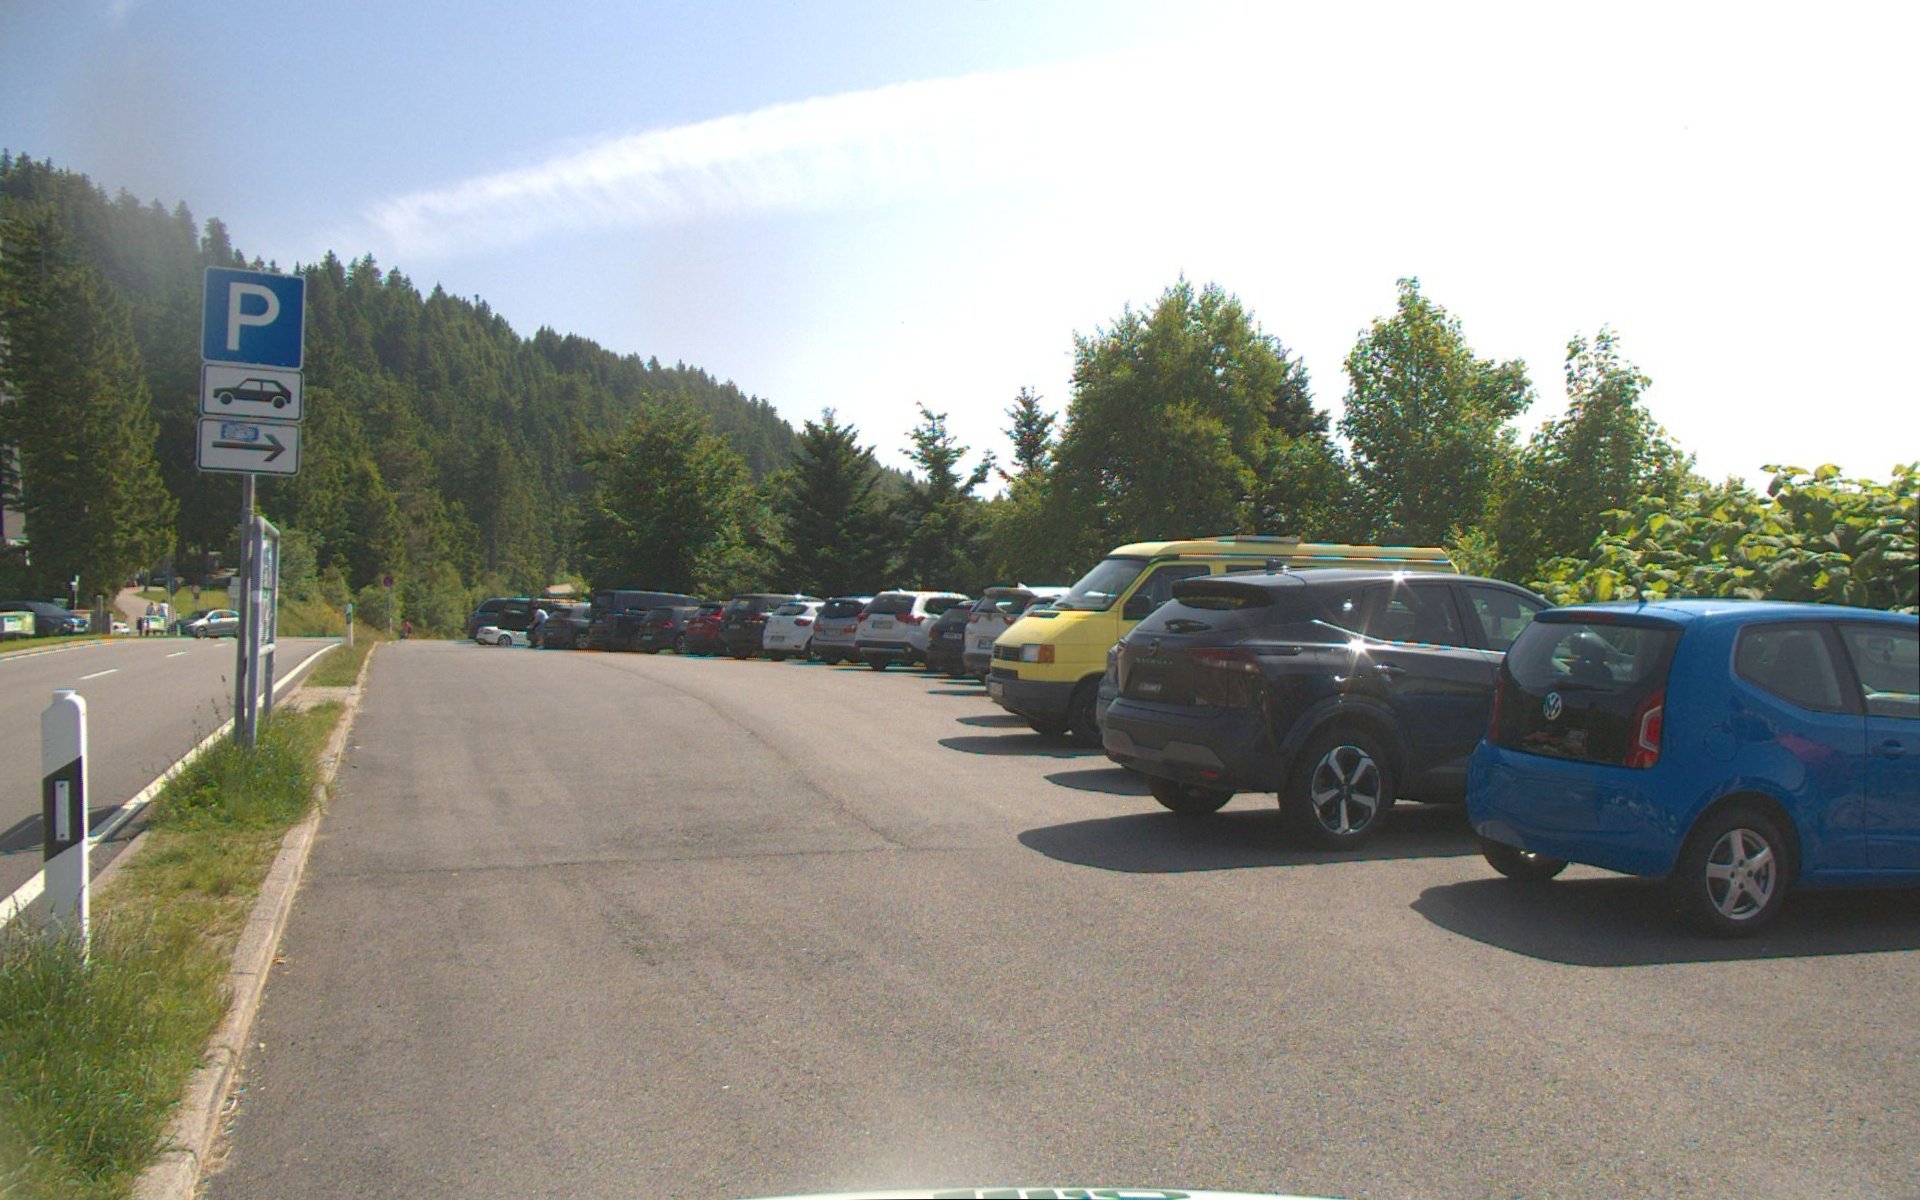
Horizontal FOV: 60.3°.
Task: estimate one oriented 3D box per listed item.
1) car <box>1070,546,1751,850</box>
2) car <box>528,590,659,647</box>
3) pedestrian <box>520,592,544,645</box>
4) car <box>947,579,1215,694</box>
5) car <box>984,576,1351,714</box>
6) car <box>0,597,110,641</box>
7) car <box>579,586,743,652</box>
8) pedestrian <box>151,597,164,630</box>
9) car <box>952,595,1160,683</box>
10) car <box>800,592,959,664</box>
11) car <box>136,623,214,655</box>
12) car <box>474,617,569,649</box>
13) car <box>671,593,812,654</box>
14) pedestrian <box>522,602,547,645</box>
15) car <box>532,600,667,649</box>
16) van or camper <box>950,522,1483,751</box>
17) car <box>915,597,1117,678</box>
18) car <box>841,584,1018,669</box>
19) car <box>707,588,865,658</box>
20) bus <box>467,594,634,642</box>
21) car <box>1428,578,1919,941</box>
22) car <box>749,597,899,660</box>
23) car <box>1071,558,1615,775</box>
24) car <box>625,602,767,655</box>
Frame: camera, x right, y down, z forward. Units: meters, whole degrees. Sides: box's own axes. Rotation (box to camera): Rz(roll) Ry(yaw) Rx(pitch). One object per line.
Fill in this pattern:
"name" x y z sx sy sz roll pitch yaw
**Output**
"car" 2.889 0.549 10.642 3.935 1.642 1.902 1 0 -24
"car" -12.707 0.658 57.538 1.966 1.691 3.973 0 -5 43
"pedestrian" -14.909 0.650 57.640 0.567 1.792 0.633 2 -2 0
"car" 1.989 0.606 26.527 4.144 1.678 1.865 3 -2 -39
"car" 2.619 0.500 20.868 4.290 1.513 1.800 -2 1 -22
"car" -35.499 0.754 64.612 4.110 1.662 1.789 -1 -1 21
"car" -9.443 0.626 52.374 4.724 1.913 1.939 3 -2 -38
"pedestrian" -45.277 0.778 93.268 0.644 1.830 0.638 0 1 -25
"car" 1.813 0.734 30.449 3.773 1.484 1.637 3 -1 -42
"car" -1.874 0.697 39.585 1.782 1.576 3.988 1 -2 33
"car" -40.059 1.968 84.473 1.548 1.453 3.370 -1 1 25
"car" -22.429 1.700 84.719 4.417 1.321 1.562 5 -3 -36
"car" -6.206 0.691 47.405 1.825 1.617 3.988 1 -2 33
"pedestrian" -14.290 0.787 55.561 0.760 1.427 0.667 -1 1 -13
"car" -11.885 0.830 54.668 3.963 1.468 1.813 3 -2 -41
"van or camper" 2.594 0.388 16.849 5.010 2.049 1.873 2 0 -18
"car" 1.170 0.768 32.966 1.861 1.487 4.026 1 -2 42
"car" -0.606 0.593 36.356 1.825 1.724 4.214 1 -1 33
"car" -4.603 0.640 44.349 1.949 1.724 4.260 1 -2 33
"bus" -32.650 1.429 132.208 12.602 3.640 2.981 0 1 -3
"car" 4.370 0.726 8.354 3.525 1.522 1.640 2 1 -18
"car" -3.428 0.754 42.438 1.731 1.502 3.988 1 -2 33
"car" 3.129 0.523 13.687 4.083 1.617 1.697 1 0 -16
"car" -7.870 0.871 49.593 1.715 1.440 3.973 1 -2 43
